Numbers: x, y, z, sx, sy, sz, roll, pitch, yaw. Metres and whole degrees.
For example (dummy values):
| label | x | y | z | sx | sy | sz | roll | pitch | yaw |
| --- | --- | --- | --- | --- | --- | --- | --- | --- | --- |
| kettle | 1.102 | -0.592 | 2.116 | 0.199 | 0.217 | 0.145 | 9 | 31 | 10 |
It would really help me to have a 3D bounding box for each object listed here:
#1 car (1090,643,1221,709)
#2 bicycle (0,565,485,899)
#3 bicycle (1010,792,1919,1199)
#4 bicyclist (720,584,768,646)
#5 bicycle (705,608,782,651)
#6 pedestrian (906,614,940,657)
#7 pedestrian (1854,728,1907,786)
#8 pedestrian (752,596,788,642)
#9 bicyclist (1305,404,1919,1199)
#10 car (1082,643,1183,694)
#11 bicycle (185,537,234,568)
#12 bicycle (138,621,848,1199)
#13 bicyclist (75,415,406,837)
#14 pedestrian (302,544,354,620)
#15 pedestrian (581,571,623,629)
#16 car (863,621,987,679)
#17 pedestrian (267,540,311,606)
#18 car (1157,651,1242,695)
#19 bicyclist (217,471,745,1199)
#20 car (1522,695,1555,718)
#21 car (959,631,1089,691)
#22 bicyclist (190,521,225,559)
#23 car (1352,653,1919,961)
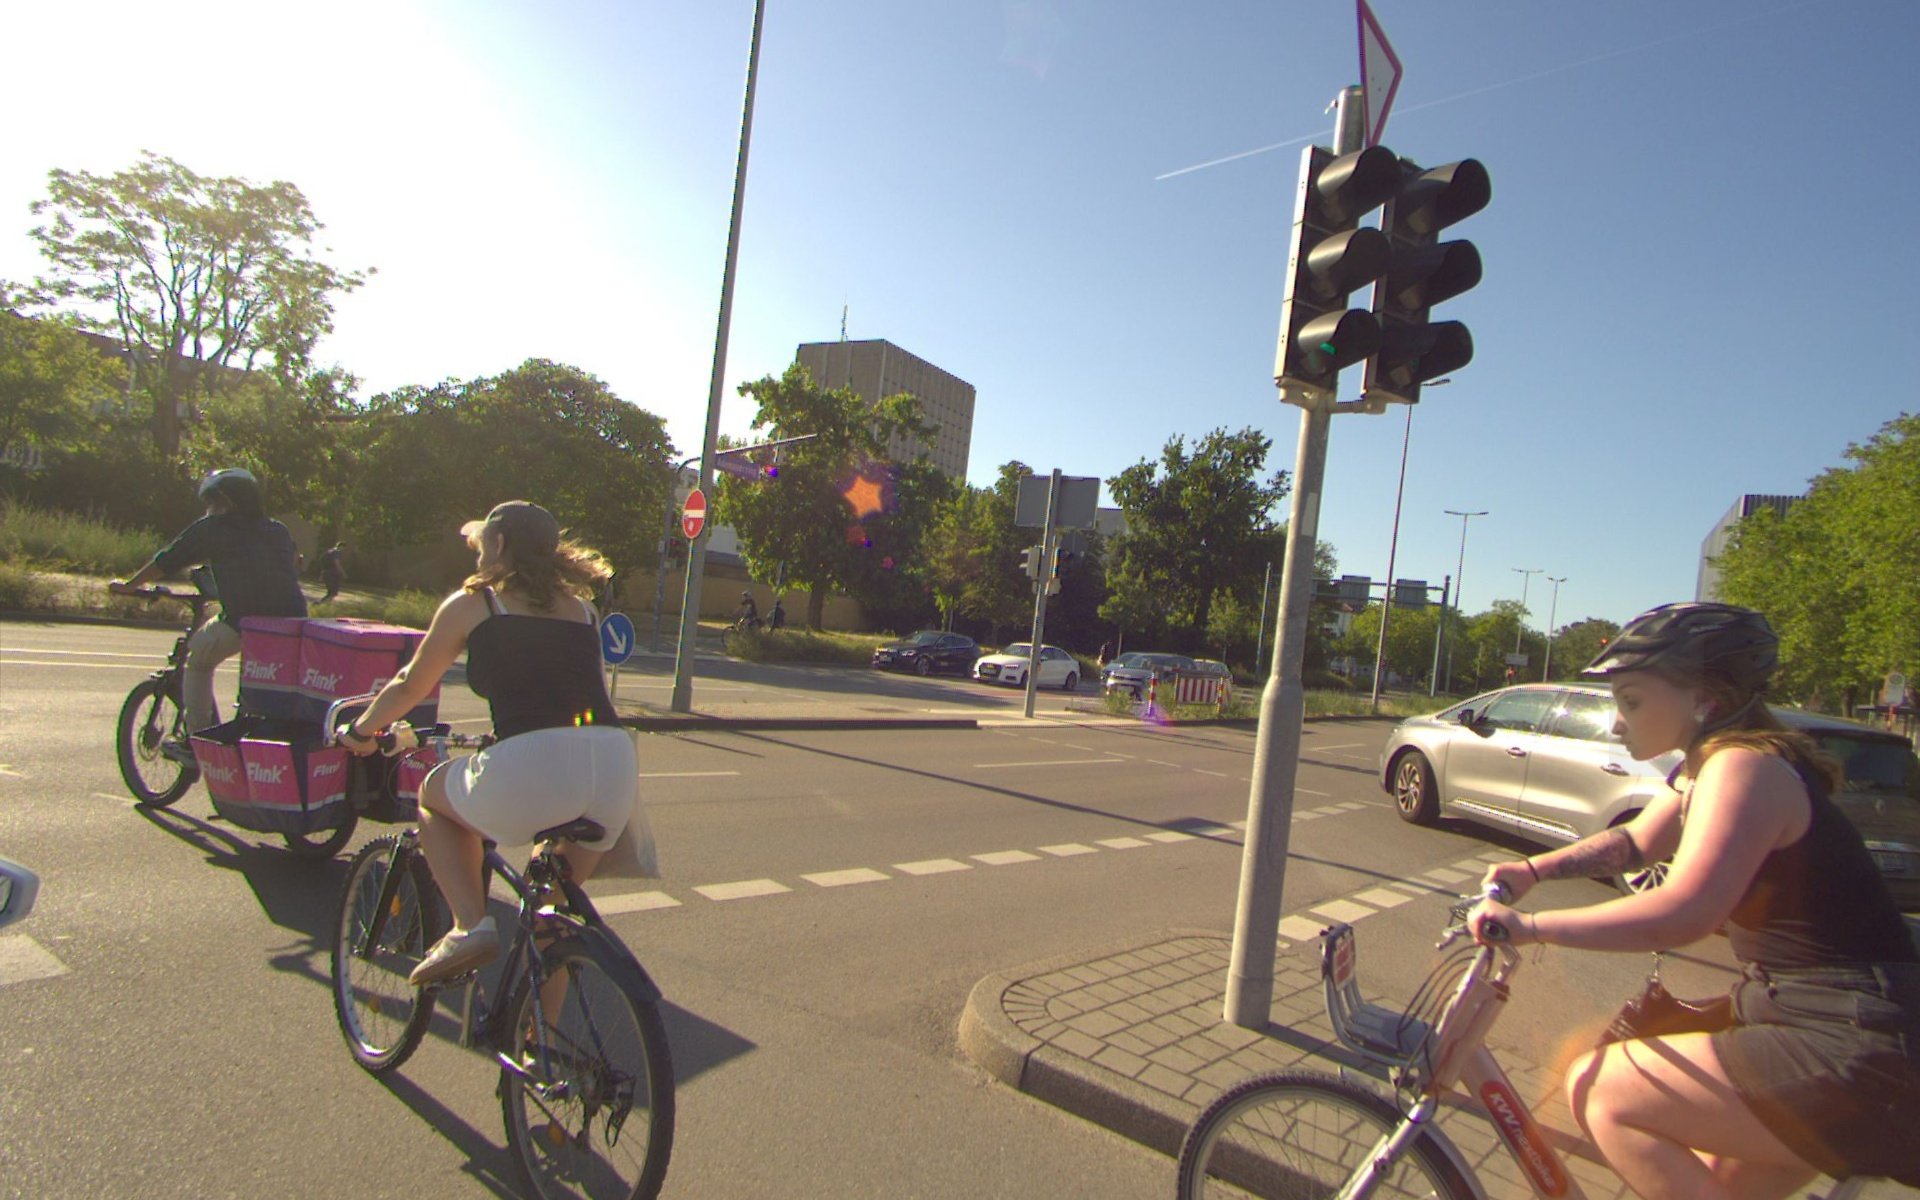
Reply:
| label | x | y | z | sx | sy | sz | roll | pitch | yaw |
| --- | --- | --- | --- | --- | --- | --- | --- | --- | --- |
| car | 5.648 | 2.200 | 28.720 | 1.897 | 1.537 | 4.002 | 6 | -1 | 39 |
| bicycle | -3.650 | 0.551 | 5.046 | 2.535 | 1.170 | 0.780 | 6 | 0 | 26 |
| bicycle | 1.170 | 1.148 | 1.865 | 2.033 | 1.135 | 0.718 | 6 | 0 | 32 |
| bicyclist | -6.976 | 0.481 | 32.494 | 1.086 | 1.853 | 0.771 | 6 | 0 | -45 |
| bicycle | -6.977 | 0.962 | 32.555 | 2.278 | 1.170 | 0.770 | 8 | -1 | -45 |
| pedestrian | -1.639 | 1.569 | 44.385 | 1.001 | 1.771 | 0.848 | 7 | 1 | 30 |
| pedestrian | 28.061 | 4.772 | 30.674 | 0.959 | 1.555 | 0.920 | 6 | 0 | 36 |
| pedestrian | -6.936 | 0.700 | 36.725 | 0.750 | 1.562 | 0.846 | 7 | 0 | 30 |
| bicyclist | 1.206 | 0.629 | 1.875 | 0.836 | 1.809 | 0.716 | 6 | -1 | 32 |
| car | 6.486 | 2.592 | 37.519 | 1.897 | 1.537 | 4.002 | 6 | -1 | 39 |
| bicycle | -31.965 | -2.018 | 42.874 | 1.544 | 1.036 | 0.617 | 9 | -2 | -33 |
| bicycle | -1.299 | 0.790 | 2.614 | 1.839 | 1.134 | 0.718 | 10 | 0 | 35 |
| bicyclist | -3.580 | 0.099 | 5.032 | 1.074 | 1.856 | 0.780 | 7 | 0 | 25 |
| pedestrian | -15.387 | -0.439 | 24.502 | 0.701 | 1.734 | 0.731 | 7 | 0 | 36 |
| pedestrian | -11.551 | 0.008 | 32.461 | 0.665 | 1.725 | 0.875 | 7 | 0 | 31 |
| car | -1.083 | 1.664 | 32.908 | 1.777 | 1.537 | 3.984 | 6 | -1 | 39 |
| pedestrian | -17.280 | -0.686 | 25.922 | 0.613 | 1.594 | 0.637 | 7 | 0 | 36 |
| car | 10.280 | 3.158 | 43.035 | 1.897 | 1.537 | 4.002 | 6 | -1 | 39 |
| bicyclist | -1.200 | 0.529 | 2.563 | 0.836 | 1.566 | 0.716 | 6 | -2 | 35 |
| car | 46.993 | 8.622 | 81.690 | 1.968 | 1.615 | 3.990 | 6 | -1 | 34 |
| car | 2.096 | 1.961 | 31.747 | 1.777 | 1.537 | 4.414 | 6 | -1 | 39 |
| bicyclist | -31.980 | -2.552 | 42.763 | 0.613 | 1.451 | 0.915 | 6 | -2 | 36 |
| car | 5.848 | 1.562 | 9.058 | 1.967 | 1.705 | 4.620 | 7 | -1 | -12 |
